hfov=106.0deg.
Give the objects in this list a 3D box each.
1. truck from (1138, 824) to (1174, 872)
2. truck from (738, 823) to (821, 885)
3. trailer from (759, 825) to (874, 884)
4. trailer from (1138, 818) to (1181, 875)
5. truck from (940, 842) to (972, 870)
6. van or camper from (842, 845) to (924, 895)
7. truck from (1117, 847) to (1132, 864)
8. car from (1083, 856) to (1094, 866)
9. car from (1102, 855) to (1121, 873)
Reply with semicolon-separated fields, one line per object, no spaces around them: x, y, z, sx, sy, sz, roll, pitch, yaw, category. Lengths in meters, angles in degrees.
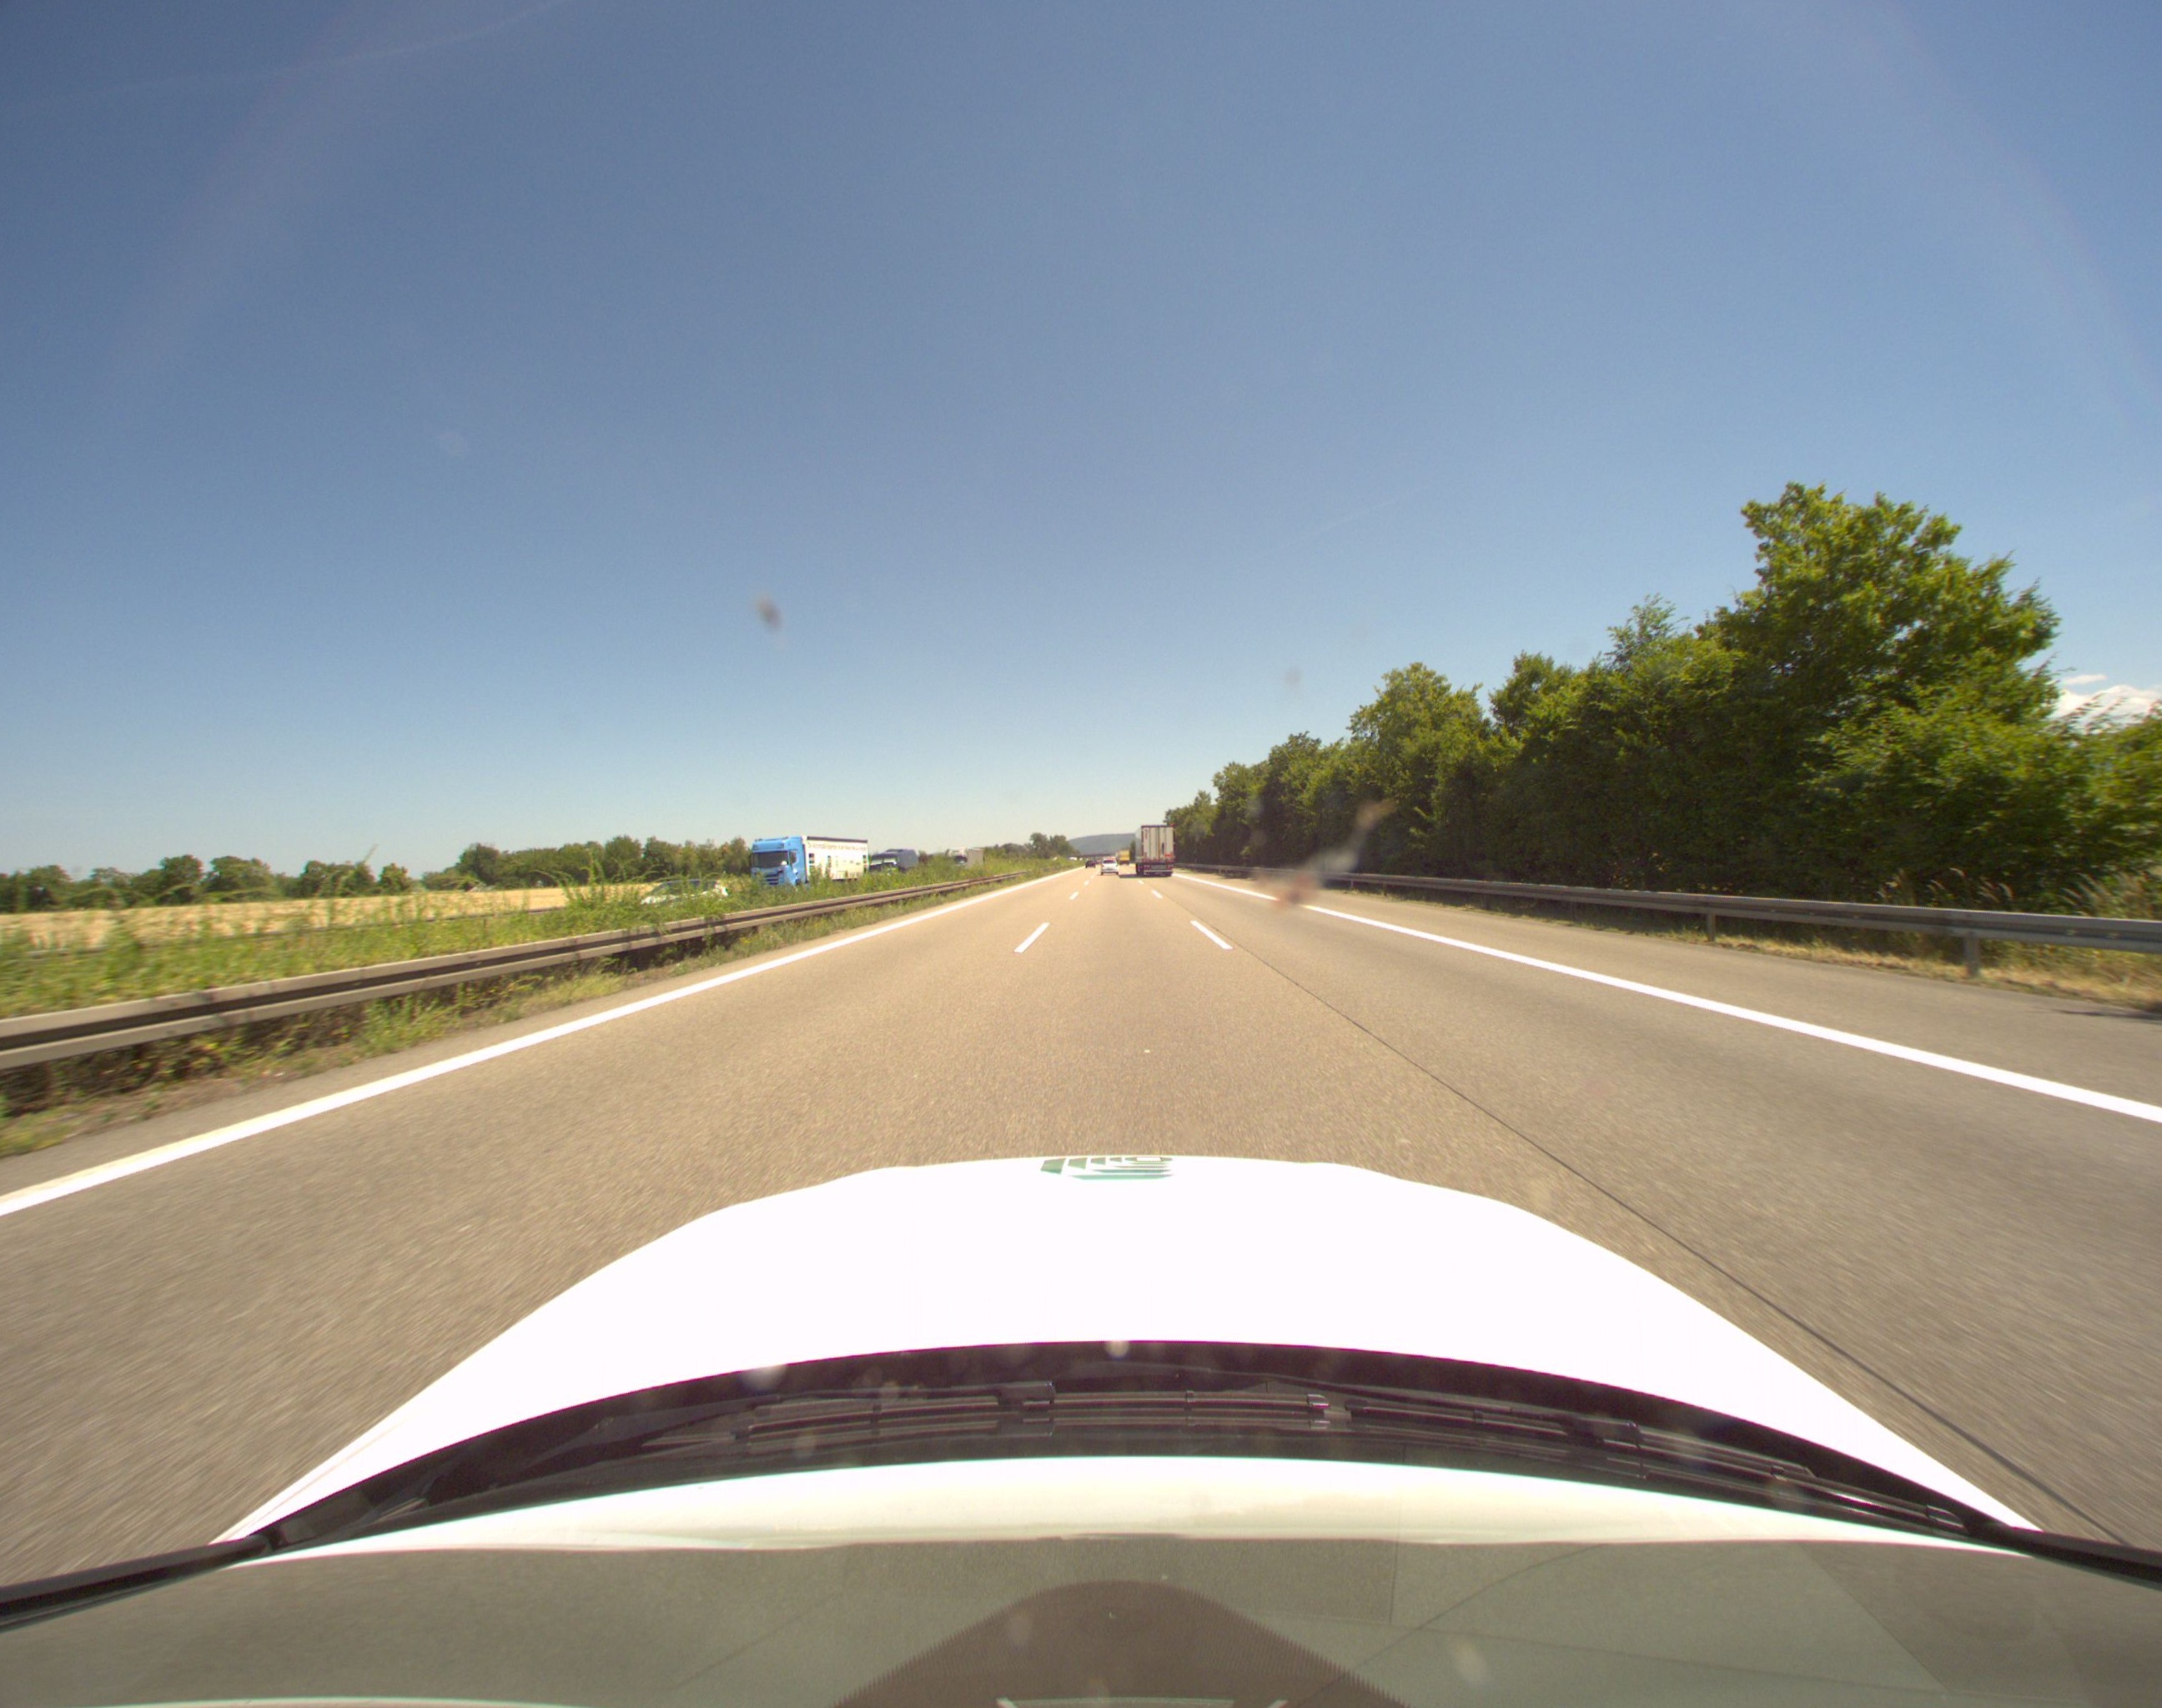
6.979;-0.540;76.772;3.204;4.345;6.597;0;0;4;truck
-18.889;0.033;51.333;3.098;3.699;5.201;0;0;2;truck
-18.587;0.061;58.825;3.098;3.698;14.390;0;0;2;trailer
6.497;-0.565;69.520;3.204;4.345;13.642;0;0;4;trailer
-17.036;0.255;111.337;3.338;3.698;6.064;0;0;0;truck
-13.859;1.070;58.203;2.601;3.101;11.515;-2;0;2;van or camper
11.330;0.359;213.182;3.856;4.345;13.866;0;0;2;truck
1.402;1.287;146.653;1.986;1.712;4.001;0;0;1;car
2.864;0.928;77.793;1.726;1.684;4.001;-2;0;1;car
